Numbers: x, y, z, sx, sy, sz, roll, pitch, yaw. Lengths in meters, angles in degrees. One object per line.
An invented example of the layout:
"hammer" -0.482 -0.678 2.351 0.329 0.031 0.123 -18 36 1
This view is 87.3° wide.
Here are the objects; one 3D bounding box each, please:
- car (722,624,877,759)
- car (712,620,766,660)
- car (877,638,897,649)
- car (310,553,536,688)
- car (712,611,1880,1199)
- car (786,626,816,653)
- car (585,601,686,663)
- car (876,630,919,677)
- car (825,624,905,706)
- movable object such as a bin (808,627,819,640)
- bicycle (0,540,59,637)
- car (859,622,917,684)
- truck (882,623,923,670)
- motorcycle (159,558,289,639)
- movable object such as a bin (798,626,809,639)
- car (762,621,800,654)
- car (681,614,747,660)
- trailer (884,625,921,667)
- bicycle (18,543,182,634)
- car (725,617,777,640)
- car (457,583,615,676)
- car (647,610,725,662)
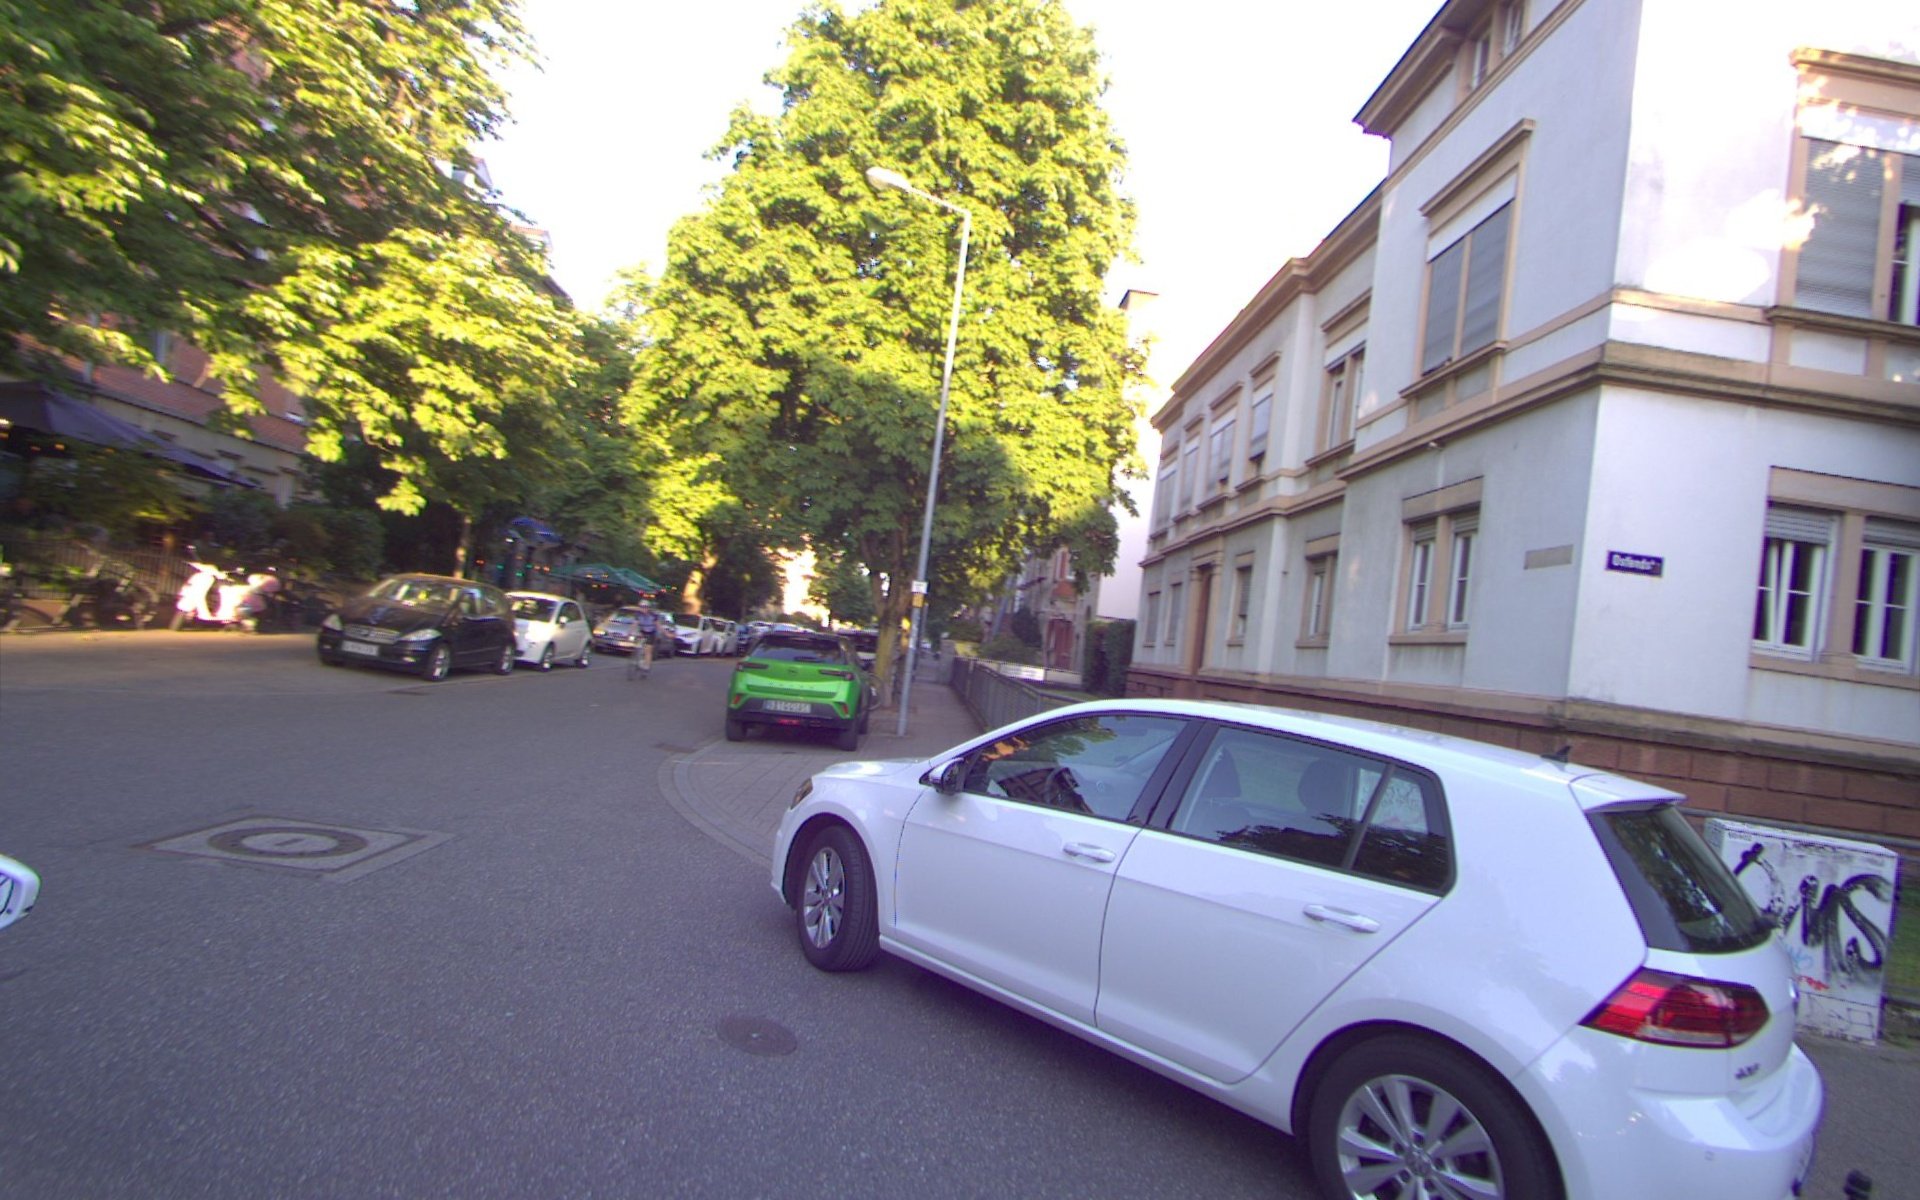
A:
"car" -2.204 1.227 14.799 1.705 1.575 3.963 5 -2 -3
"car" -9.532 1.722 43.645 1.528 1.502 3.695 7 -2 -3
"car" -14.072 8.384 193.904 3.567 1.478 1.606 8 -2 -5
"car" -8.653 0.359 16.619 1.641 1.695 3.847 10 -2 -4
"car" 0.933 1.078 4.191 4.119 1.517 1.804 6 -3 45
"car" -10.698 2.657 67.887 1.530 1.497 3.693 10 -2 -5
"car" -9.597 0.936 30.106 1.815 1.426 4.598 10 -2 -7
"car" -2.942 2.506 48.135 1.811 1.965 4.614 5 -2 -3
"car" -2.285 1.506 24.389 1.639 1.698 4.119 5 -2 -5
"movable object such as a bin" -17.755 4.075 122.090 0.997 1.336 1.006 9 -1 3
"bicycle" -12.358 -0.185 12.447 0.385 1.198 1.959 10 -2 2
"car" -2.788 1.967 38.569 1.925 2.083 4.829 5 -2 -5
"truck" -3.214 2.515 55.379 1.925 2.273 4.644 5 -2 -5
"motorcycle" -12.487 0.014 17.155 0.385 1.198 1.960 9 -2 8
"movable object such as a bin" -18.961 3.914 121.892 1.084 1.430 1.002 10 -1 -15
"car" -10.522 2.185 59.323 1.667 1.580 4.401 10 -2 -6
"car" -9.794 1.479 40.276 1.528 1.501 3.696 10 -2 0
"trailer" -3.432 2.788 61.057 1.924 2.322 4.647 5 -2 -2
"bicycle" -12.834 -0.131 15.102 0.385 1.156 1.960 9 -3 8
"car" -18.470 2.498 88.989 4.028 1.464 1.711 8 -1 7
"car" -8.722 0.627 21.047 1.640 1.509 3.711 10 -2 -2
"car" -9.603 1.278 35.551 1.580 1.451 3.887 10 -2 -1
